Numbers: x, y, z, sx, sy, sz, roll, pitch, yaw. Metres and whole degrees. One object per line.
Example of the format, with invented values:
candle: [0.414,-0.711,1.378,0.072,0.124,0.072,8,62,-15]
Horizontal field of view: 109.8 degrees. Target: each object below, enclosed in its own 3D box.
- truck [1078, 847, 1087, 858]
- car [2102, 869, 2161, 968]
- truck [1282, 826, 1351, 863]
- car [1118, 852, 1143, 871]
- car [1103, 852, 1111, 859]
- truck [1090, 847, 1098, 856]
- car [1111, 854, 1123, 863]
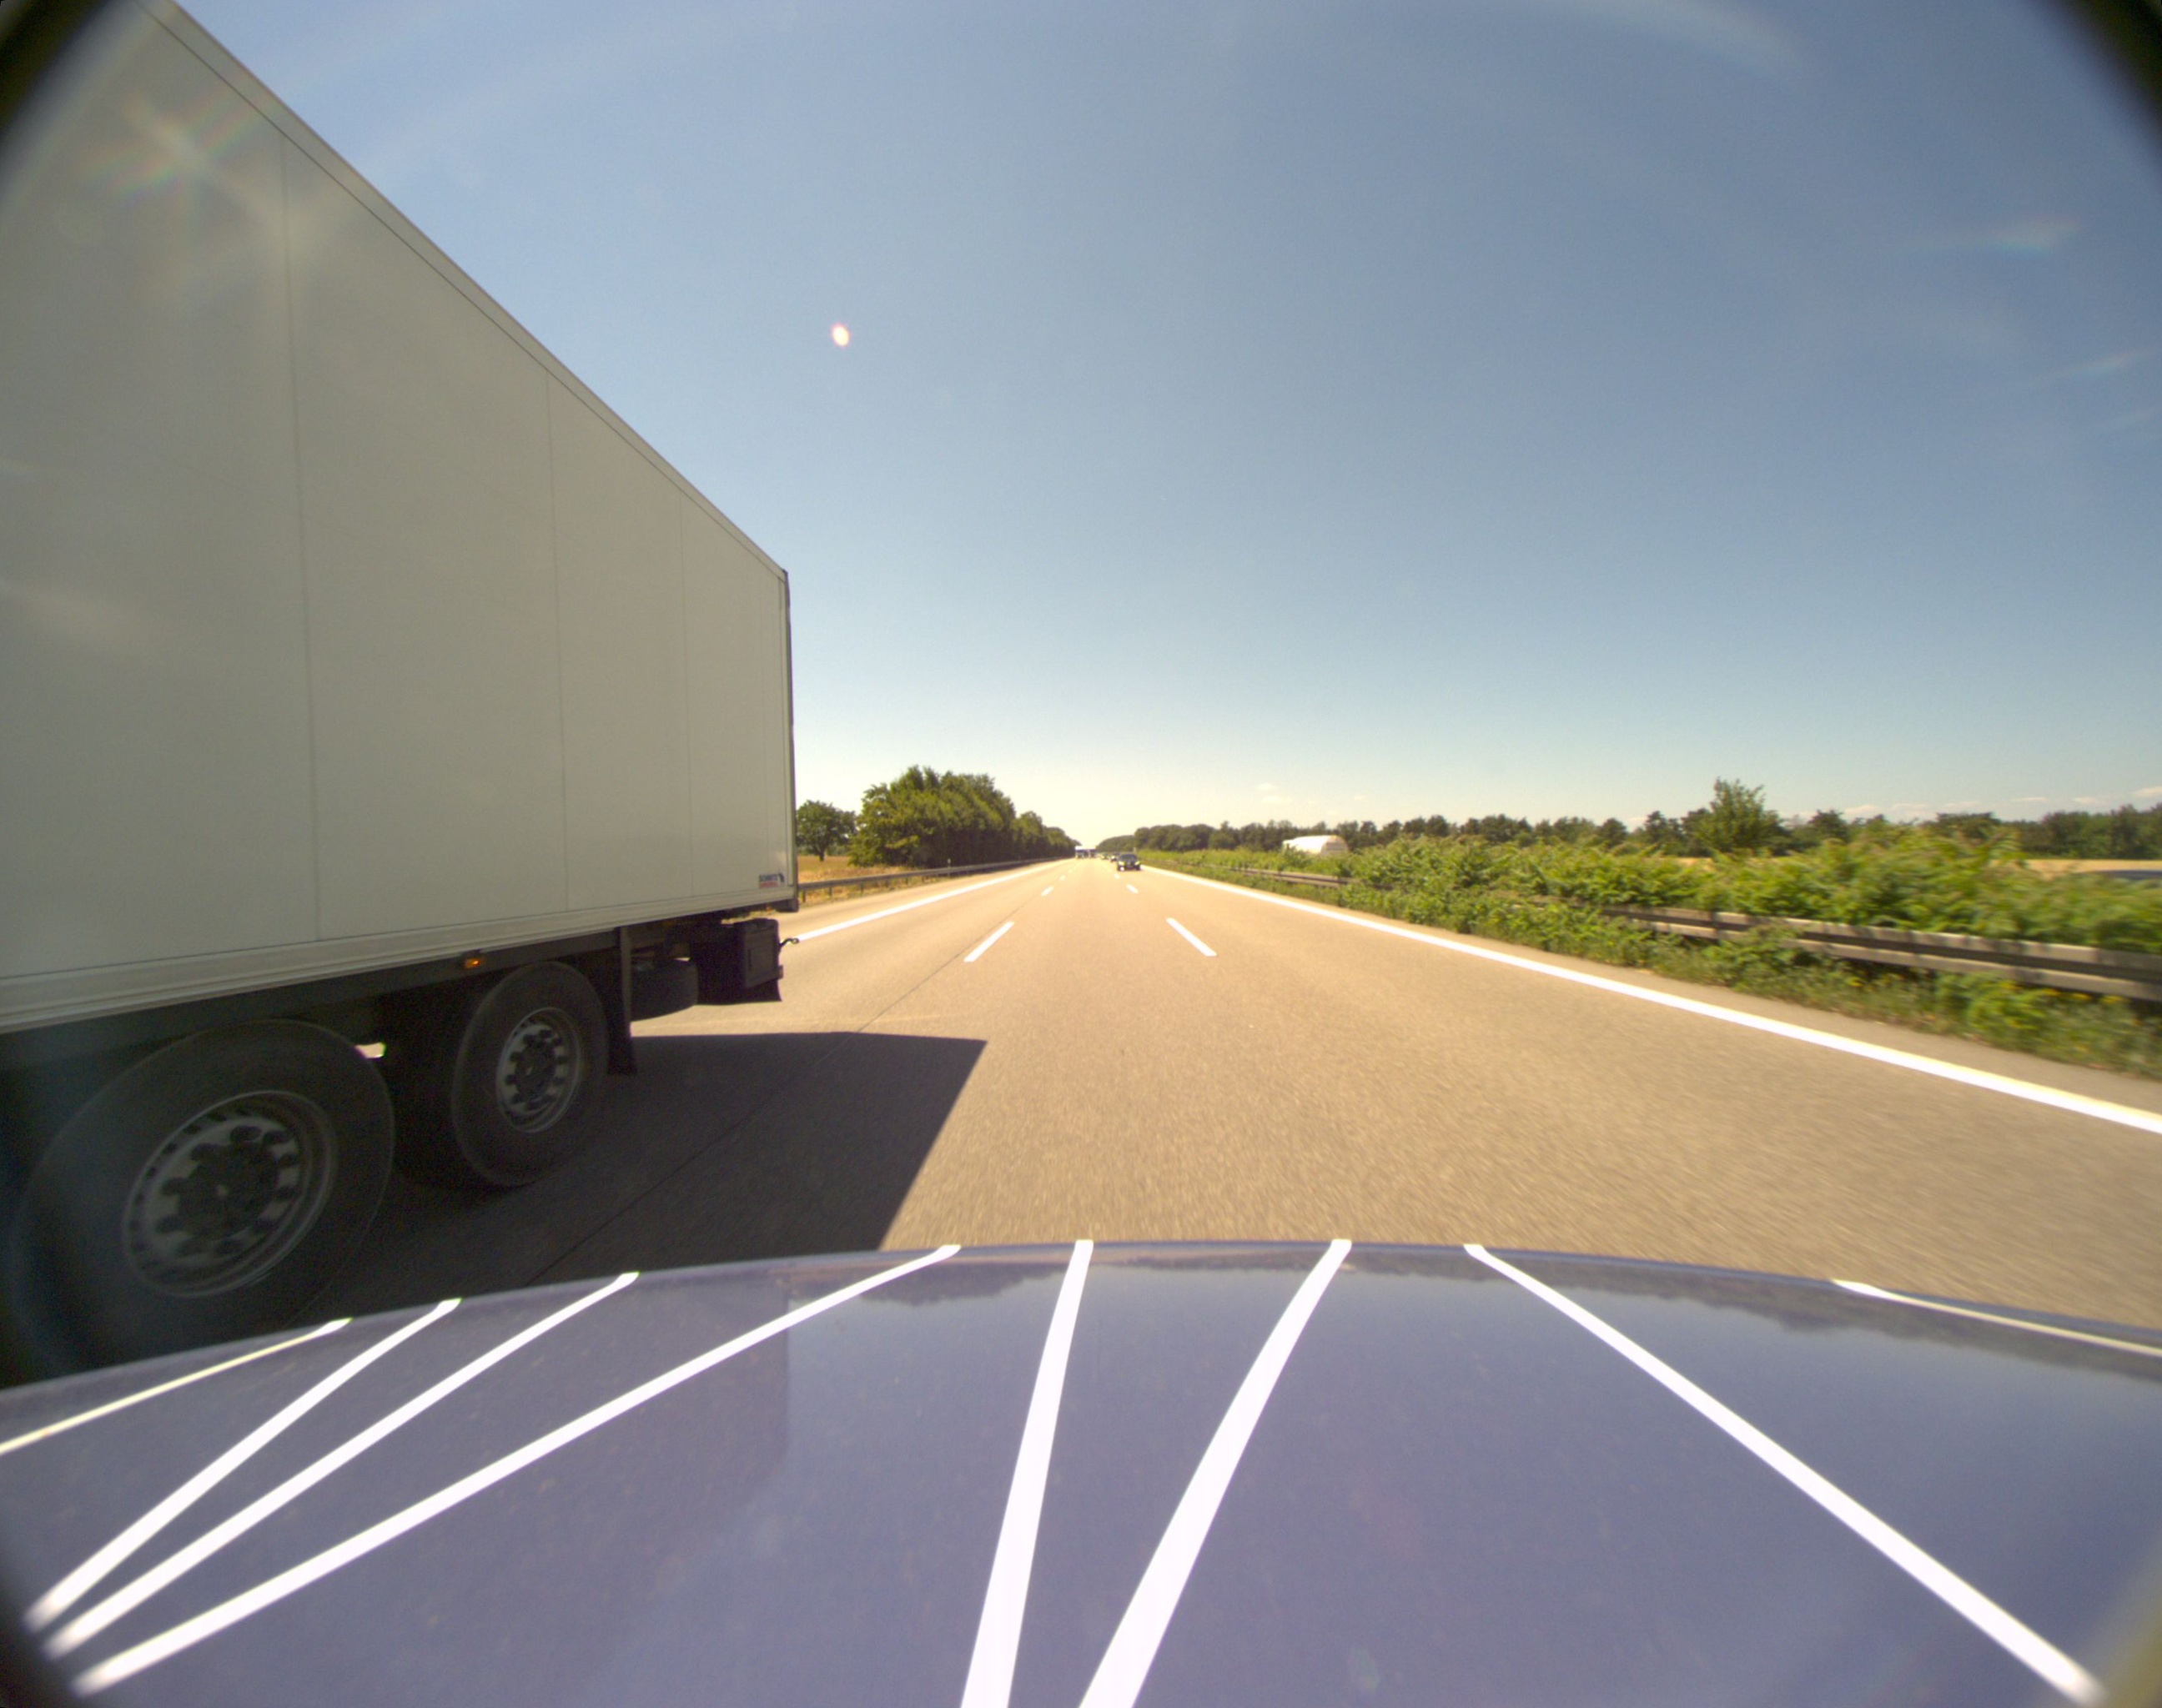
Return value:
truck: [0.433,-0.531,249.516,2.575,3.499,8.335,-2,1,1]
car: [16.938,0.975,10.144,1.684,1.412,3.688,-2,1,1]
truck: [21.871,-0.873,71.510,2.575,3.106,13.119,-2,1,1]
car: [4.039,0.602,63.074,1.811,1.460,3.999,-2,1,1]
car: [5.954,0.324,175.979,1.811,1.417,3.999,-2,1,1]
truck: [4.404,-0.827,262.346,2.575,3.106,8.335,-2,1,1]
car: [5.693,0.722,121.096,1.811,1.417,3.999,-2,1,1]
